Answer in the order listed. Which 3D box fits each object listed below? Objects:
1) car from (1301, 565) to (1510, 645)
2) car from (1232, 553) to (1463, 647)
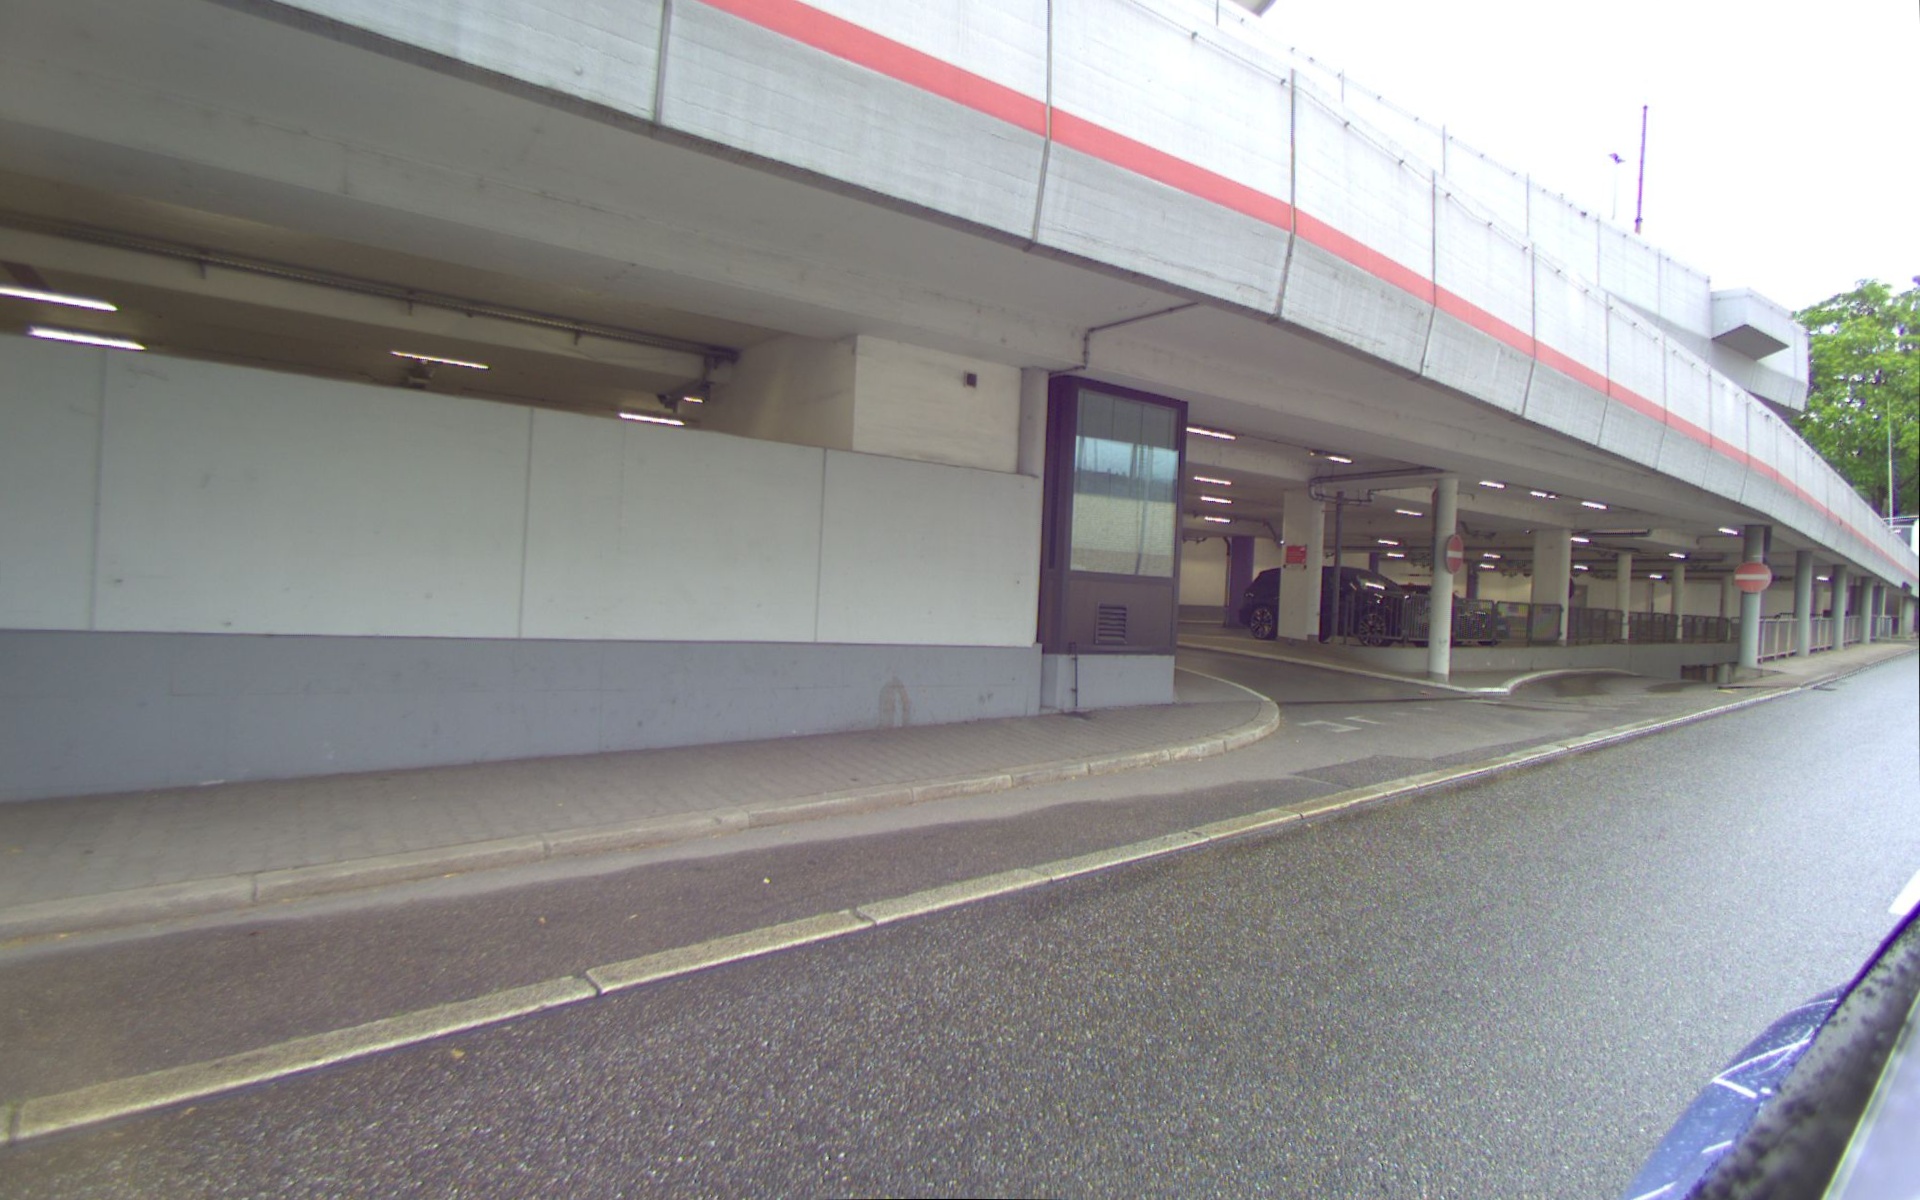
[{"bbox_3d":[10.769,0.091,24.764,1.960,1.682,4.261,5,-2,-31],"label":"car"},{"bbox_3d":[8.170,-0.017,21.723,1.960,1.682,4.261,5,-2,-31],"label":"car"}]
